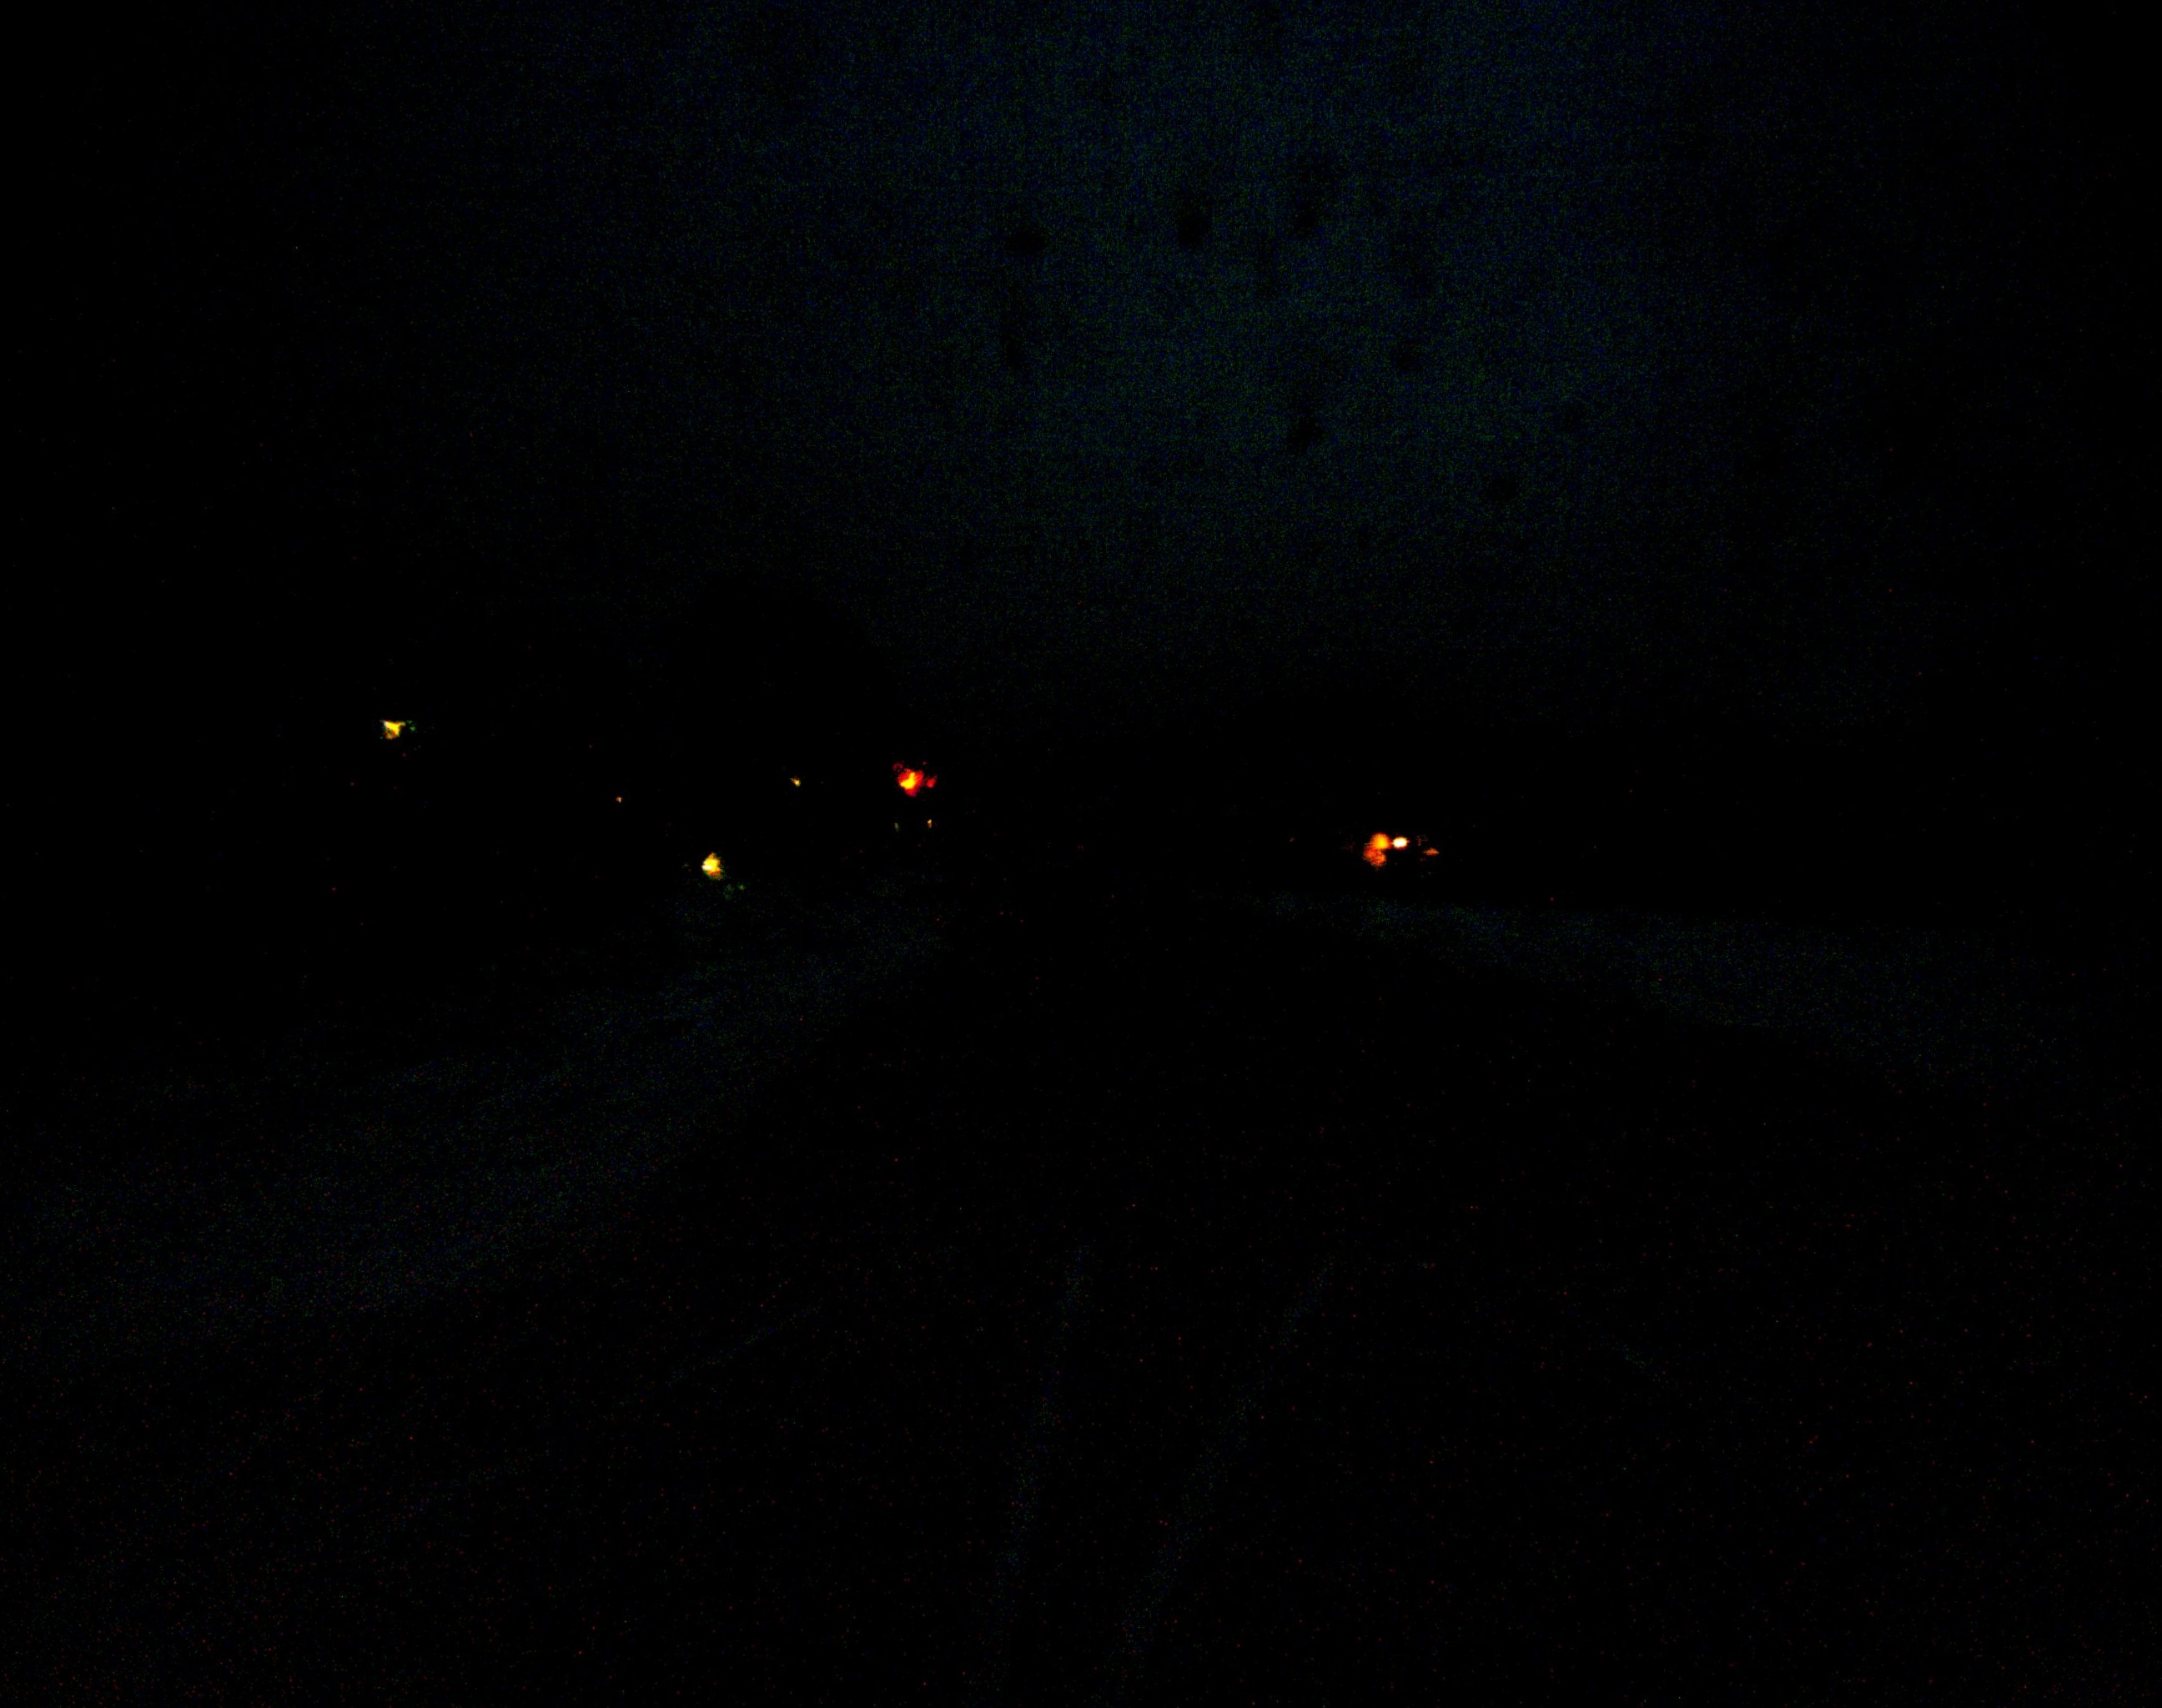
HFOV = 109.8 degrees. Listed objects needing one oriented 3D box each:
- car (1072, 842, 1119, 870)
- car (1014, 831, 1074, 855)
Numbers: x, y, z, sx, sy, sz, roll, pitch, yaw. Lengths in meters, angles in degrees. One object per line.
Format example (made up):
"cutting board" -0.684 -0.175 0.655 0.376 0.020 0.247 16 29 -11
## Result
"car" 0.754 0.095 43.083 1.725 1.525 3.511 1 1 -15
"car" -3.547 -1.047 73.138 5.283 2.003 2.209 1 5 -20
